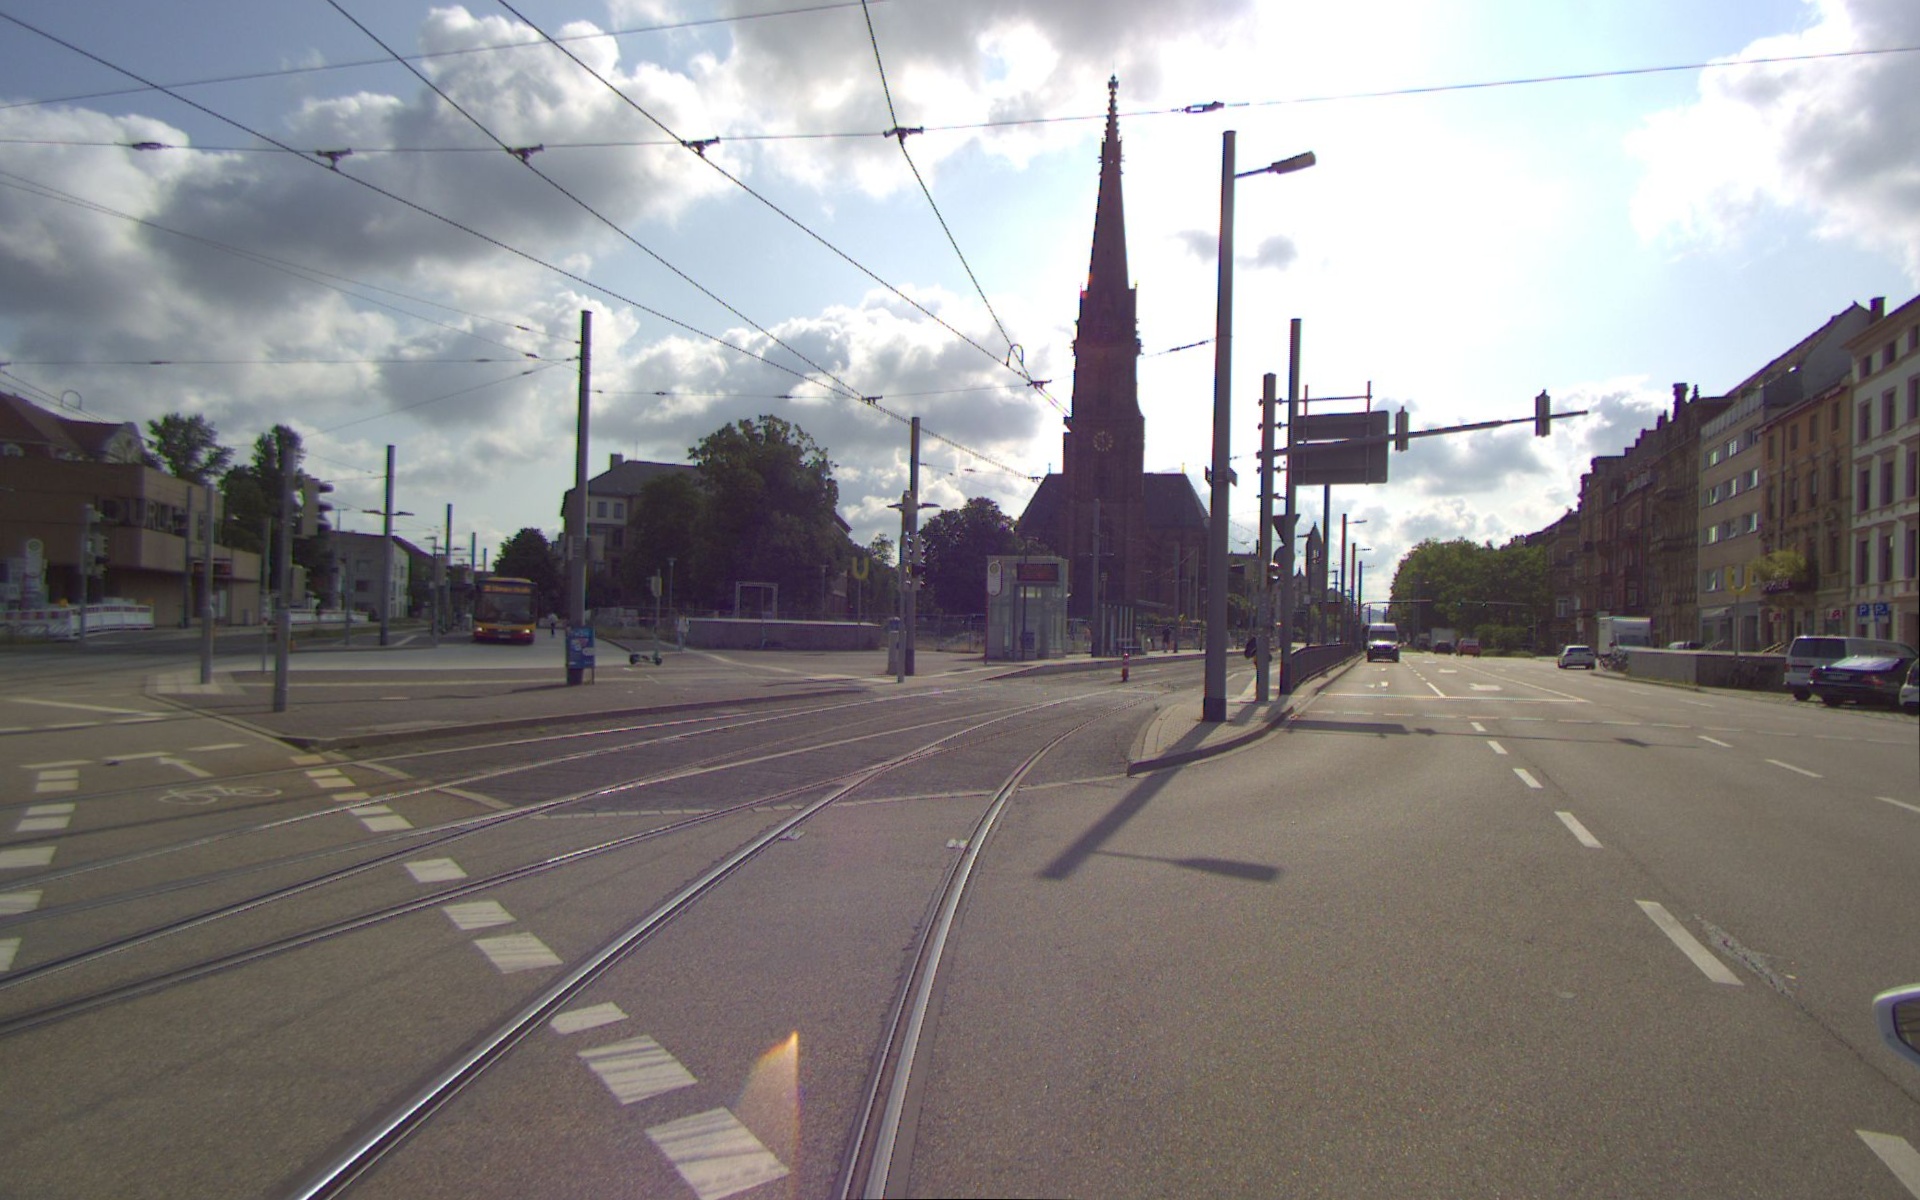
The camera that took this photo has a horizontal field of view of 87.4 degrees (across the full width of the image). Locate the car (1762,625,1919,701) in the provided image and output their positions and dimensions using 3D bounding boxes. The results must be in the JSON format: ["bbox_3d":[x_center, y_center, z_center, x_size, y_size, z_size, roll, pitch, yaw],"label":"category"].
[{"bbox_3d":[27.269,1.855,30.819,4.827,2.112,2.069,0,0,-22],"label":"car"}]

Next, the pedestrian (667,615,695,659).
[{"bbox_3d":[-11.405,1.488,41.090,0.917,1.712,1.090,-1,2,-25],"label":"pedestrian"}]

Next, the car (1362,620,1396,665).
[{"bbox_3d":[28.242,2.840,67.772,1.962,2.656,5.577,-3,0,23],"label":"car"}]

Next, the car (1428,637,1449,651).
[{"bbox_3d":[55.271,5.084,116.104,1.961,1.528,3.999,1,-1,22],"label":"car"}]

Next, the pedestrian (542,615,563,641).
[{"bbox_3d":[-24.786,1.687,61.115,0.836,1.542,0.798,0,-1,33],"label":"pedestrian"}]

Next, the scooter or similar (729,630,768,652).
[{"bbox_3d":[-9.574,1.845,45.483,1.639,0.962,0.471,2,-1,-23],"label":"scooter or similar"}]

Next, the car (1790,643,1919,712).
[{"bbox_3d":[25.104,2.026,27.091,4.984,1.488,1.883,-1,0,-19],"label":"car"}]

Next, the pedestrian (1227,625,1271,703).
[{"bbox_3d":[6.542,1.445,22.726,0.829,1.695,0.795,-2,0,22],"label":"pedestrian"}]

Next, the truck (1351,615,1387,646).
[{"bbox_3d":[49.910,3.710,122.796,2.421,3.696,7.455,1,-1,9],"label":"truck"}]

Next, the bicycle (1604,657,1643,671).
[{"bbox_3d":[36.167,3.486,54.775,0.628,0.594,1.764,-2,0,-16],"label":"bicycle"}]

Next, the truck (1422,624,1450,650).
[{"bbox_3d":[62.855,4.947,132.721,3.120,3.328,7.293,-2,-3,24],"label":"truck"}]

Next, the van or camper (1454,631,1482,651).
[{"bbox_3d":[53.185,4.337,105.245,1.975,1.939,4.524,1,-2,19],"label":"van or camper"}]

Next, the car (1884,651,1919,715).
[{"bbox_3d":[24.513,2.000,24.288,3.456,1.460,1.713,0,1,-18],"label":"car"}]

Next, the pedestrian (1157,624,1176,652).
[{"bbox_3d":[14.036,2.560,68.175,0.982,1.824,1.044,1,4,29],"label":"pedestrian"}]

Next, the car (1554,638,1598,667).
[{"bbox_3d":[39.098,3.303,63.813,1.763,1.456,4.339,-5,-2,25],"label":"car"}]

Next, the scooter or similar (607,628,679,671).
[{"bbox_3d":[-9.332,1.449,29.610,1.313,1.204,1.493,1,-2,25],"label":"scooter or similar"}]

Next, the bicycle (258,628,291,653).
[{"bbox_3d":[-29.771,1.761,43.658,0.801,1.005,2.058,2,-4,-24],"label":"bicycle"}]

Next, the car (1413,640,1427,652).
[{"bbox_3d":[67.168,6.734,146.756,1.742,1.684,3.998,0,-2,24],"label":"car"}]

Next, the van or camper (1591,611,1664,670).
[{"bbox_3d":[42.827,2.533,64.679,2.670,3.375,7.632,-2,0,24],"label":"van or camper"}]

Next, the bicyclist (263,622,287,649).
[{"bbox_3d":[-29.778,1.550,43.684,0.688,1.167,0.734,2,-4,-25],"label":"bicyclist"}]

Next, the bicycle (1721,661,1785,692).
[{"bbox_3d":[29.183,2.811,36.981,1.743,1.017,0.513,1,2,17],"label":"bicycle"}]

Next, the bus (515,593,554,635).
[{"bbox_3d":[-38.714,1.331,91.596,2.923,3.554,12.188,2,-1,-22],"label":"bus"}]

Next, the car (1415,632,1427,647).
[{"bbox_3d":[72.630,6.261,158.292,1.742,2.264,3.998,0,-2,24],"label":"car"}]

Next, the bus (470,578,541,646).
[{"bbox_3d":[-20.861,0.583,46.367,2.662,2.871,7.062,2,-1,-22],"label":"bus"}]

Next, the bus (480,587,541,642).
[{"bbox_3d":[-23.185,0.774,51.966,2.663,2.621,5.050,2,-1,-23],"label":"bus"}]

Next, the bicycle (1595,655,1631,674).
[{"bbox_3d":[38.161,3.781,58.725,1.728,1.100,0.372,-1,2,12],"label":"bicycle"}]

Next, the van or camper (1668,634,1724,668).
[{"bbox_3d":[52.368,3.602,71.574,1.962,1.930,5.294,-4,0,23],"label":"van or camper"}]
